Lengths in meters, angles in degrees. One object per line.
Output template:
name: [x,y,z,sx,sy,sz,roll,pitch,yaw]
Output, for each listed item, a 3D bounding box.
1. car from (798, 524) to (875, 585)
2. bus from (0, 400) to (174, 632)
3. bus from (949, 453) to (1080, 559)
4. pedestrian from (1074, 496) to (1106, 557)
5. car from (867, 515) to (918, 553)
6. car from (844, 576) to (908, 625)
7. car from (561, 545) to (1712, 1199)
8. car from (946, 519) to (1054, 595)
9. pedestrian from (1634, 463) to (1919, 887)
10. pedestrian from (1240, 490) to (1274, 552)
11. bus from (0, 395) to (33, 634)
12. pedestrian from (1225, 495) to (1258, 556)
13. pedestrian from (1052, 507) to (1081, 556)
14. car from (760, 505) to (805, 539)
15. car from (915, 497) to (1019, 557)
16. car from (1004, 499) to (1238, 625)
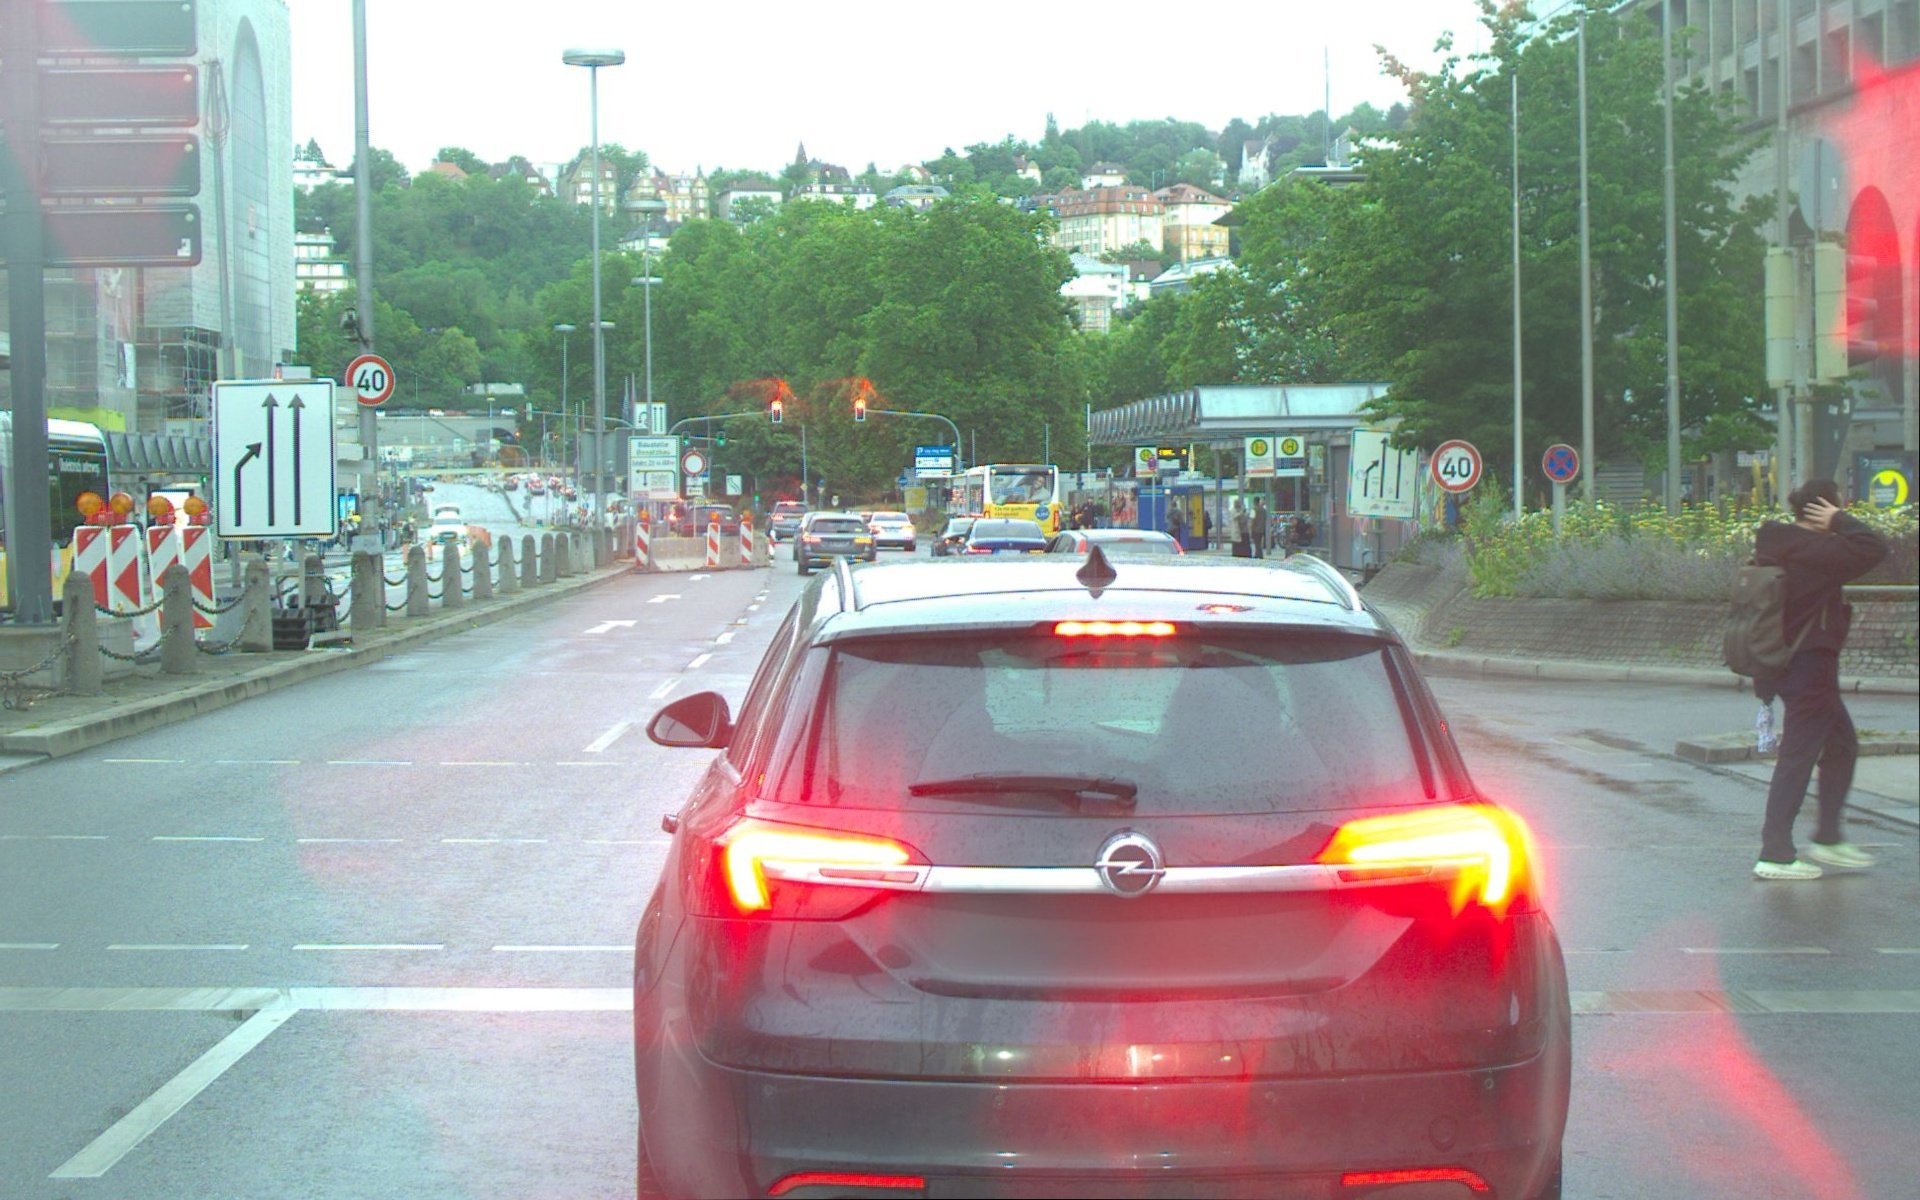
car: [-2.934,-1.076,81.589,1.753,1.393,4.538,1,1,-2]
bus: [-15.854,-1.388,58.531,2.668,3.589,10.212,1,1,-1]
bus: [1.776,-3.197,120.872,4.173,3.457,14.655,1,1,-1]
pedestrian: [5.259,-2.952,139.003,1.199,2.427,1.228,1,1,1]
car: [-2.494,-2.442,127.593,1.845,1.393,3.564,1,1,-1]
car: [-2.513,0.012,103.487,1.845,1.393,3.564,1,1,-1]
car: [0.250,0.638,7.644,1.874,1.481,4.000,1,1,-1]
car: [0.736,-0.841,66.685,1.753,1.393,4.649,1,1,-3]
pedestrian: [3.555,0.308,14.795,1.096,1.745,0.654,-2,1,-3]
pedestrian: [8.132,-2.157,94.195,0.763,1.684,0.825,1,1,-5]
bus: [-15.727,-1.253,48.345,2.668,3.589,10.240,1,1,-1]
pedestrian: [7.797,-2.059,95.346,0.763,1.684,0.825,1,1,-5]
pedestrian: [4.727,-3.056,152.820,1.199,2.141,1.228,1,1,1]
car: [-7.728,-3.399,149.897,1.759,1.393,3.564,1,1,-1]
car: [0.134,-1.773,83.735,1.752,1.393,4.403,1,1,-10]
car: [1.837,-0.451,40.394,1.845,1.393,3.668,1,1,-12]
